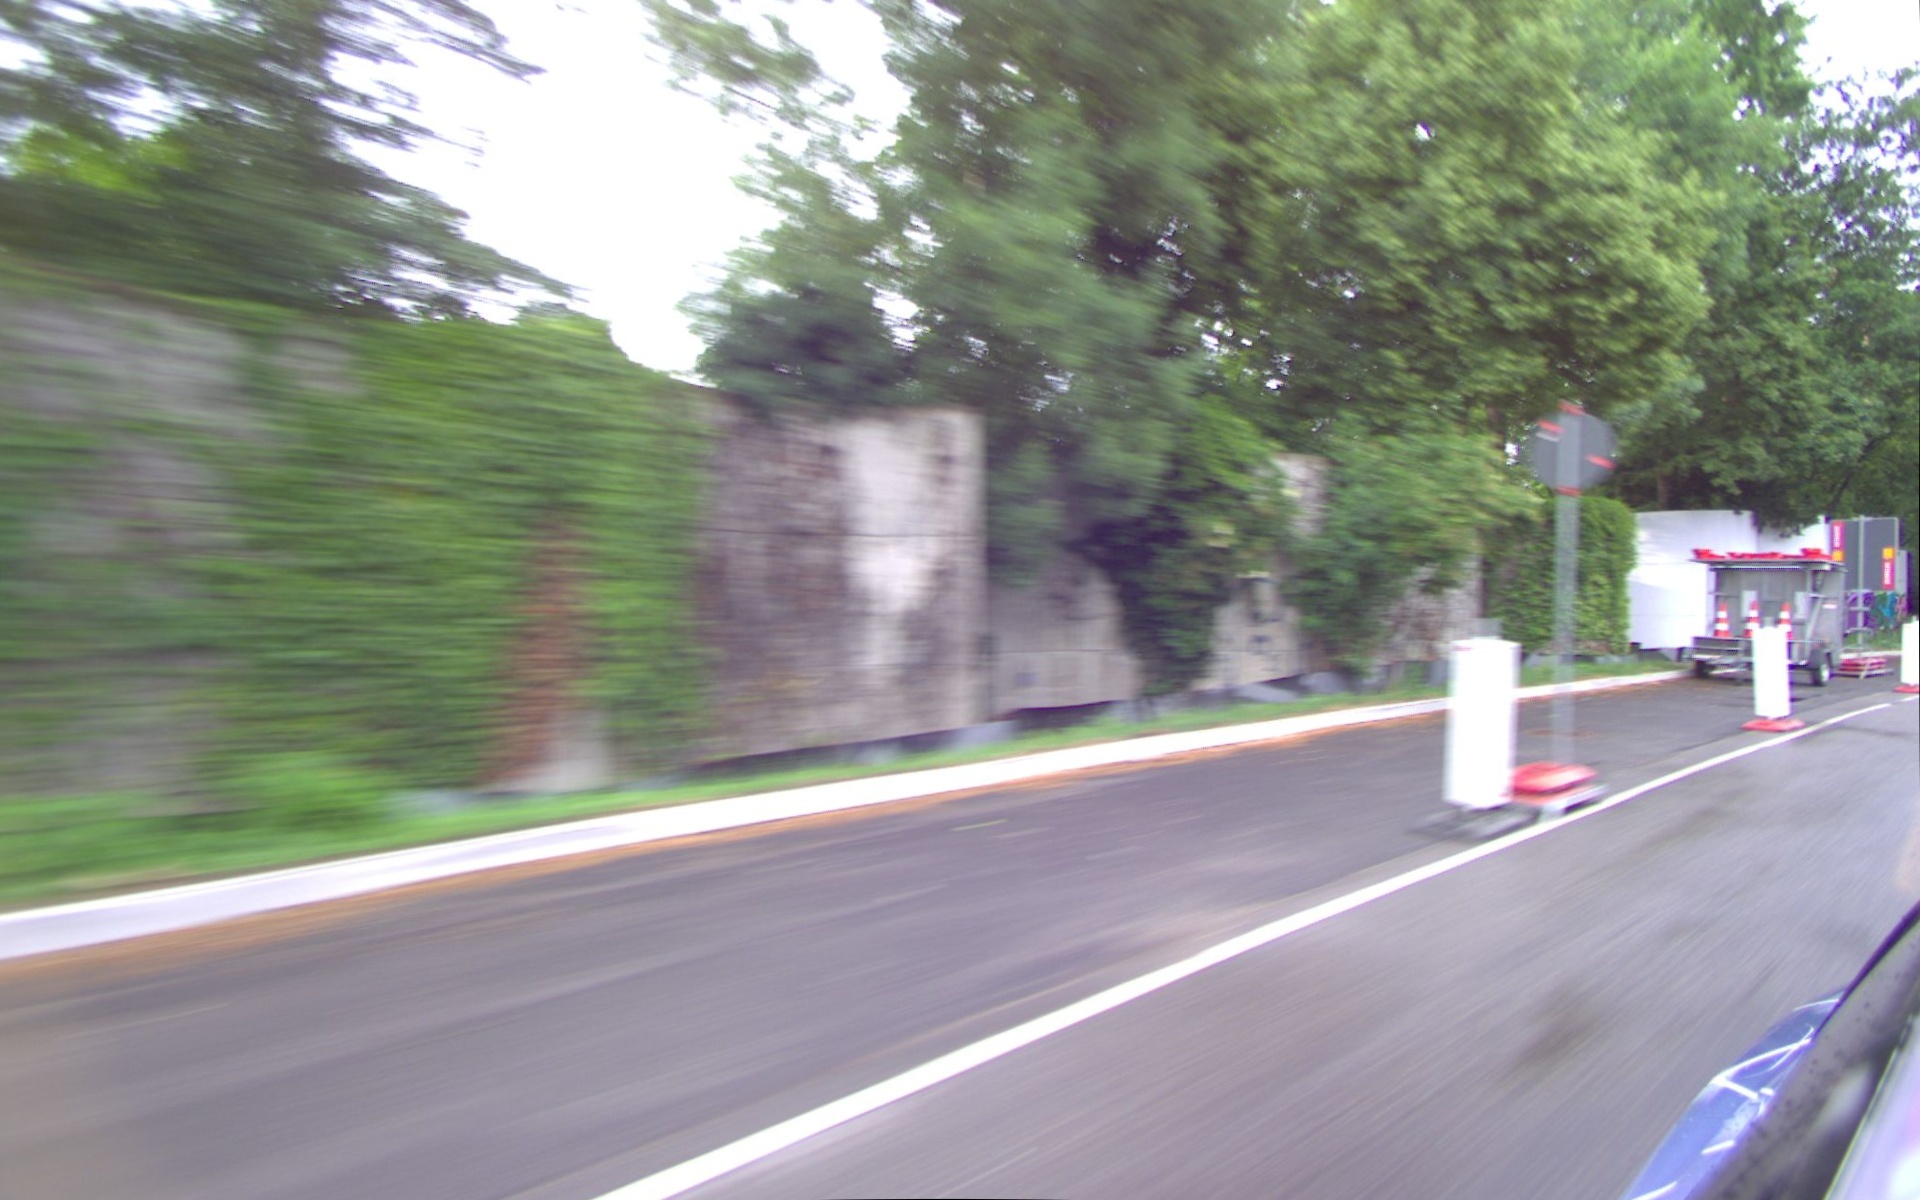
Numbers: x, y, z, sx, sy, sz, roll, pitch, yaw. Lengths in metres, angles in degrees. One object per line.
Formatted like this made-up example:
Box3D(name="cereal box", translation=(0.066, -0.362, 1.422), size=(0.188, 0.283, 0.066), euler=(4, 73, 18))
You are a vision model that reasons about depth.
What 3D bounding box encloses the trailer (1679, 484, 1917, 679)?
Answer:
Box3D(name="trailer", translation=(17.843, -0.348, 21.448), size=(5.845, 3.634, 2.316), euler=(1, 1, -34))
